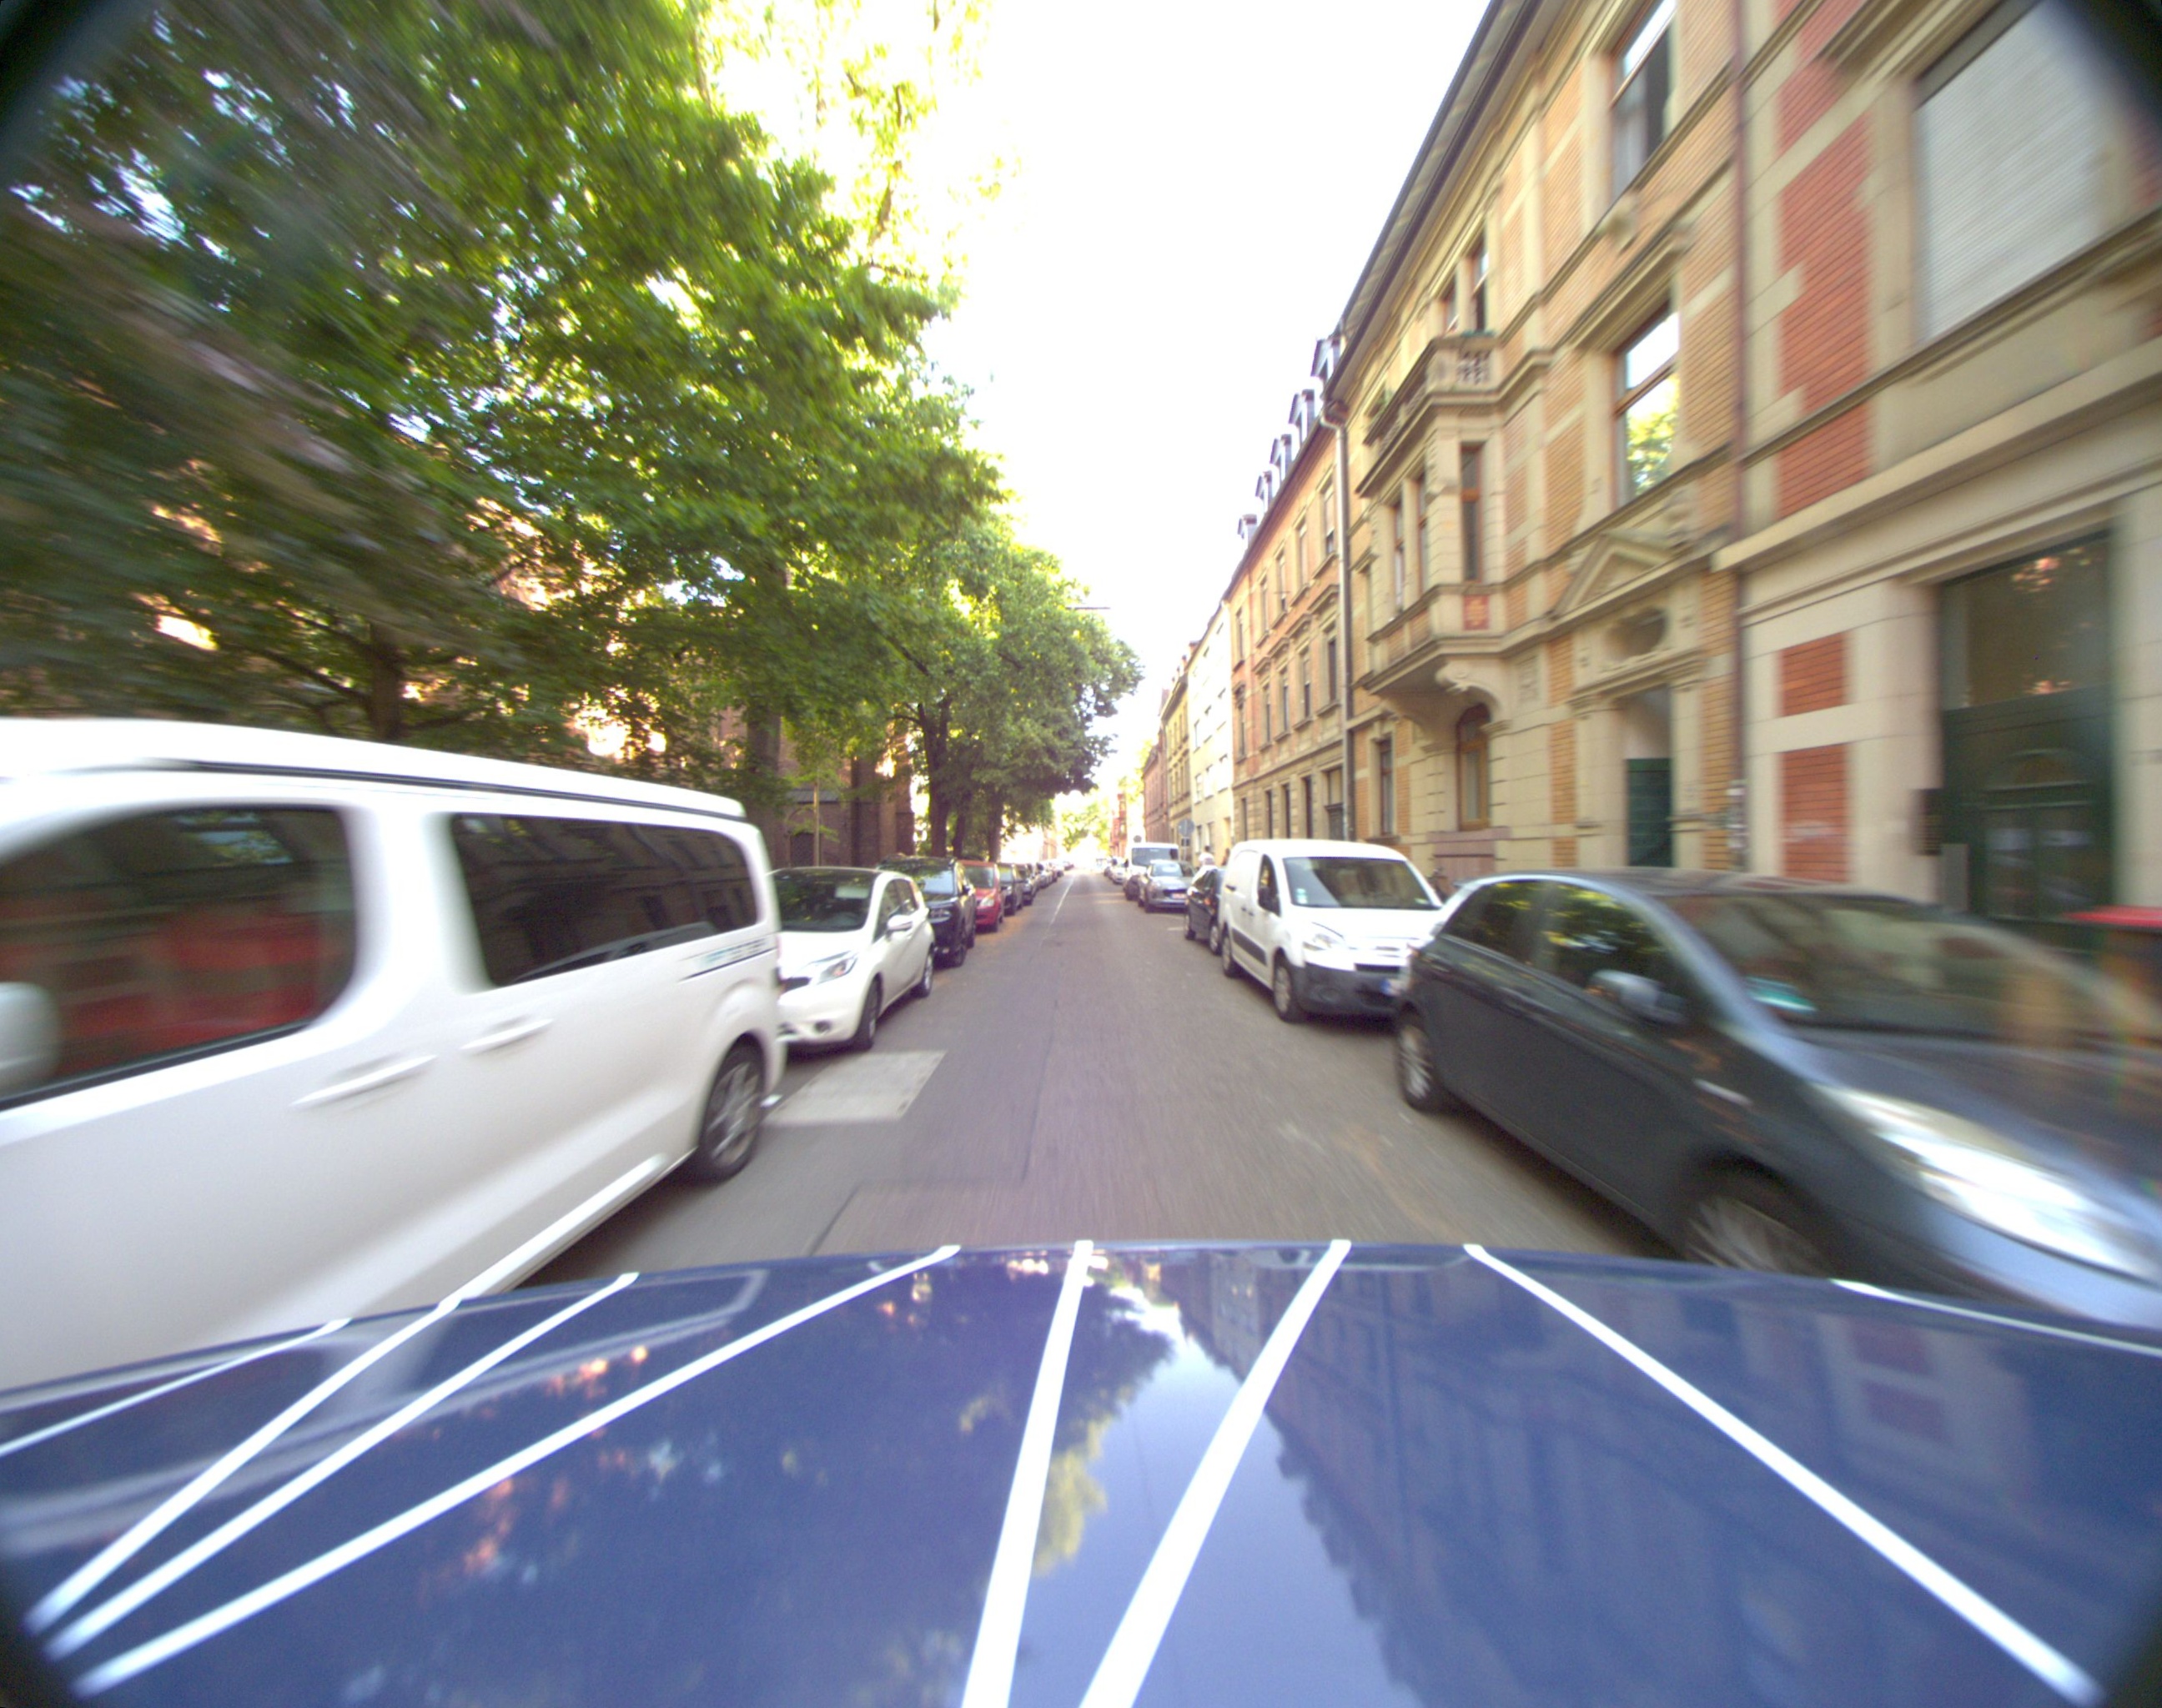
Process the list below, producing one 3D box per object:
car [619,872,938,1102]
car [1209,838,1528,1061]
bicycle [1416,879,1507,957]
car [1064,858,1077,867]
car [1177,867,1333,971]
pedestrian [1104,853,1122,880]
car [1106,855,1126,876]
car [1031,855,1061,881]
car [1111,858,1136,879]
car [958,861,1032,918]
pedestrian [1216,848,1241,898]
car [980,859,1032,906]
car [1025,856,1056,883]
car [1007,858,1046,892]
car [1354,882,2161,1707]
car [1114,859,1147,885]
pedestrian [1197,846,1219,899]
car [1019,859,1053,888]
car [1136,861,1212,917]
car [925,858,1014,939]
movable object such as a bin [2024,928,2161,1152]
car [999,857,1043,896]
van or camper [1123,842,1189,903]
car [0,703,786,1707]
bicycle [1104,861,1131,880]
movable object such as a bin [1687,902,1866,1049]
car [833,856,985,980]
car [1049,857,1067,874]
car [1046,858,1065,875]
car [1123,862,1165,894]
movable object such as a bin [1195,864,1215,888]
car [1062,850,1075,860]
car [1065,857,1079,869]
[{"bbox_3d":[-2.593,1.028,7.545,1.723,1.562,3.827,-1,0,-2],"label":"car"},{"bbox_3d":[2.731,0.788,8.494,1.836,1.801,4.572,1,0,0],"label":"car"},{"bbox_3d":[5.824,0.949,11.720,0.572,1.035,1.546,-3,0,0],"label":"bicycle"},{"bbox_3d":[-1.865,1.505,134.291,1.998,1.659,4.001,-1,0,2],"label":"car"},{"bbox_3d":[2.891,1.017,13.490,1.697,1.505,3.972,1,0,-2],"label":"car"},{"bbox_3d":[2.226,0.878,52.458,1.112,1.792,0.490,-3,1,44],"label":"pedestrian"},{"bbox_3d":[3.091,0.994,67.471,1.713,1.664,4.278,1,1,1],"label":"car"},{"bbox_3d":[-2.352,0.944,52.110,1.668,1.577,4.100,3,1,2],"label":"car"},{"bbox_3d":[3.121,1.037,56.509,1.713,1.409,3.803,1,1,1],"label":"car"},{"bbox_3d":[-2.559,1.025,23.423,1.622,1.478,3.776,3,1,2],"label":"car"},{"bbox_3d":[5.275,0.663,27.202,0.703,1.761,0.649,-2,2,0],"label":"pedestrian"},{"bbox_3d":[-2.697,1.001,28.296,1.680,1.433,4.693,3,1,-4],"label":"car"},{"bbox_3d":[-2.472,0.946,47.626,1.603,1.496,3.720,3,1,1],"label":"car"},{"bbox_3d":[-2.709,1.015,38.328,1.603,1.459,3.563,3,1,1],"label":"car"},{"bbox_3d":[2.738,0.936,3.224,1.697,1.472,3.973,1,0,0],"label":"car"},{"bbox_3d":[2.944,1.072,46.314,1.735,1.447,4.521,1,0,0],"label":"car"},{"bbox_3d":[4.531,0.647,27.210,0.580,1.872,0.904,-2,2,0],"label":"pedestrian"},{"bbox_3d":[-2.520,1.047,42.869,1.603,1.462,3.869,1,1,1],"label":"car"},{"bbox_3d":[2.726,0.986,23.227,1.771,1.505,4.193,1,0,0],"label":"car"},{"bbox_3d":[-2.615,0.981,18.541,1.623,1.615,3.862,3,1,-2],"label":"car"},{"bbox_3d":[5.714,0.958,3.904,0.639,1.035,0.856,-3,0,0],"label":"movable object such as a bin"},{"bbox_3d":[-2.591,0.938,33.442,1.603,1.496,3.627,3,1,-1],"label":"car"},{"bbox_3d":[2.810,0.662,29.529,2.182,2.135,5.155,1,0,2],"label":"van or camper"},{"bbox_3d":[-2.759,0.728,1.986,1.919,1.987,4.792,1,0,2],"label":"car"},{"bbox_3d":[2.537,1.133,52.888,1.840,1.236,0.573,-4,0,45],"label":"bicycle"},{"bbox_3d":[5.653,0.954,6.228,0.639,1.035,0.856,-3,0,0],"label":"movable object such as a bin"},{"bbox_3d":[-2.678,0.907,12.761,1.744,1.594,4.262,3,1,-4],"label":"car"},{"bbox_3d":[-2.207,1.119,73.595,1.713,1.511,3.831,0,1,-1],"label":"car"},{"bbox_3d":[-2.246,1.081,68.174,1.625,1.428,4.002,0,1,-1],"label":"car"},{"bbox_3d":[2.934,1.085,35.900,1.735,1.394,4.316,1,0,2],"label":"car"},{"bbox_3d":[5.747,1.006,35.332,0.838,1.082,0.675,-1,2,4],"label":"movable object such as a bin"},{"bbox_3d":[-2.144,0.207,128.124,1.998,1.659,4.001,-1,0,2],"label":"car"},{"bbox_3d":[-1.220,1.174,102.929,1.845,1.643,4.000,0,0,0],"label":"car"}]
